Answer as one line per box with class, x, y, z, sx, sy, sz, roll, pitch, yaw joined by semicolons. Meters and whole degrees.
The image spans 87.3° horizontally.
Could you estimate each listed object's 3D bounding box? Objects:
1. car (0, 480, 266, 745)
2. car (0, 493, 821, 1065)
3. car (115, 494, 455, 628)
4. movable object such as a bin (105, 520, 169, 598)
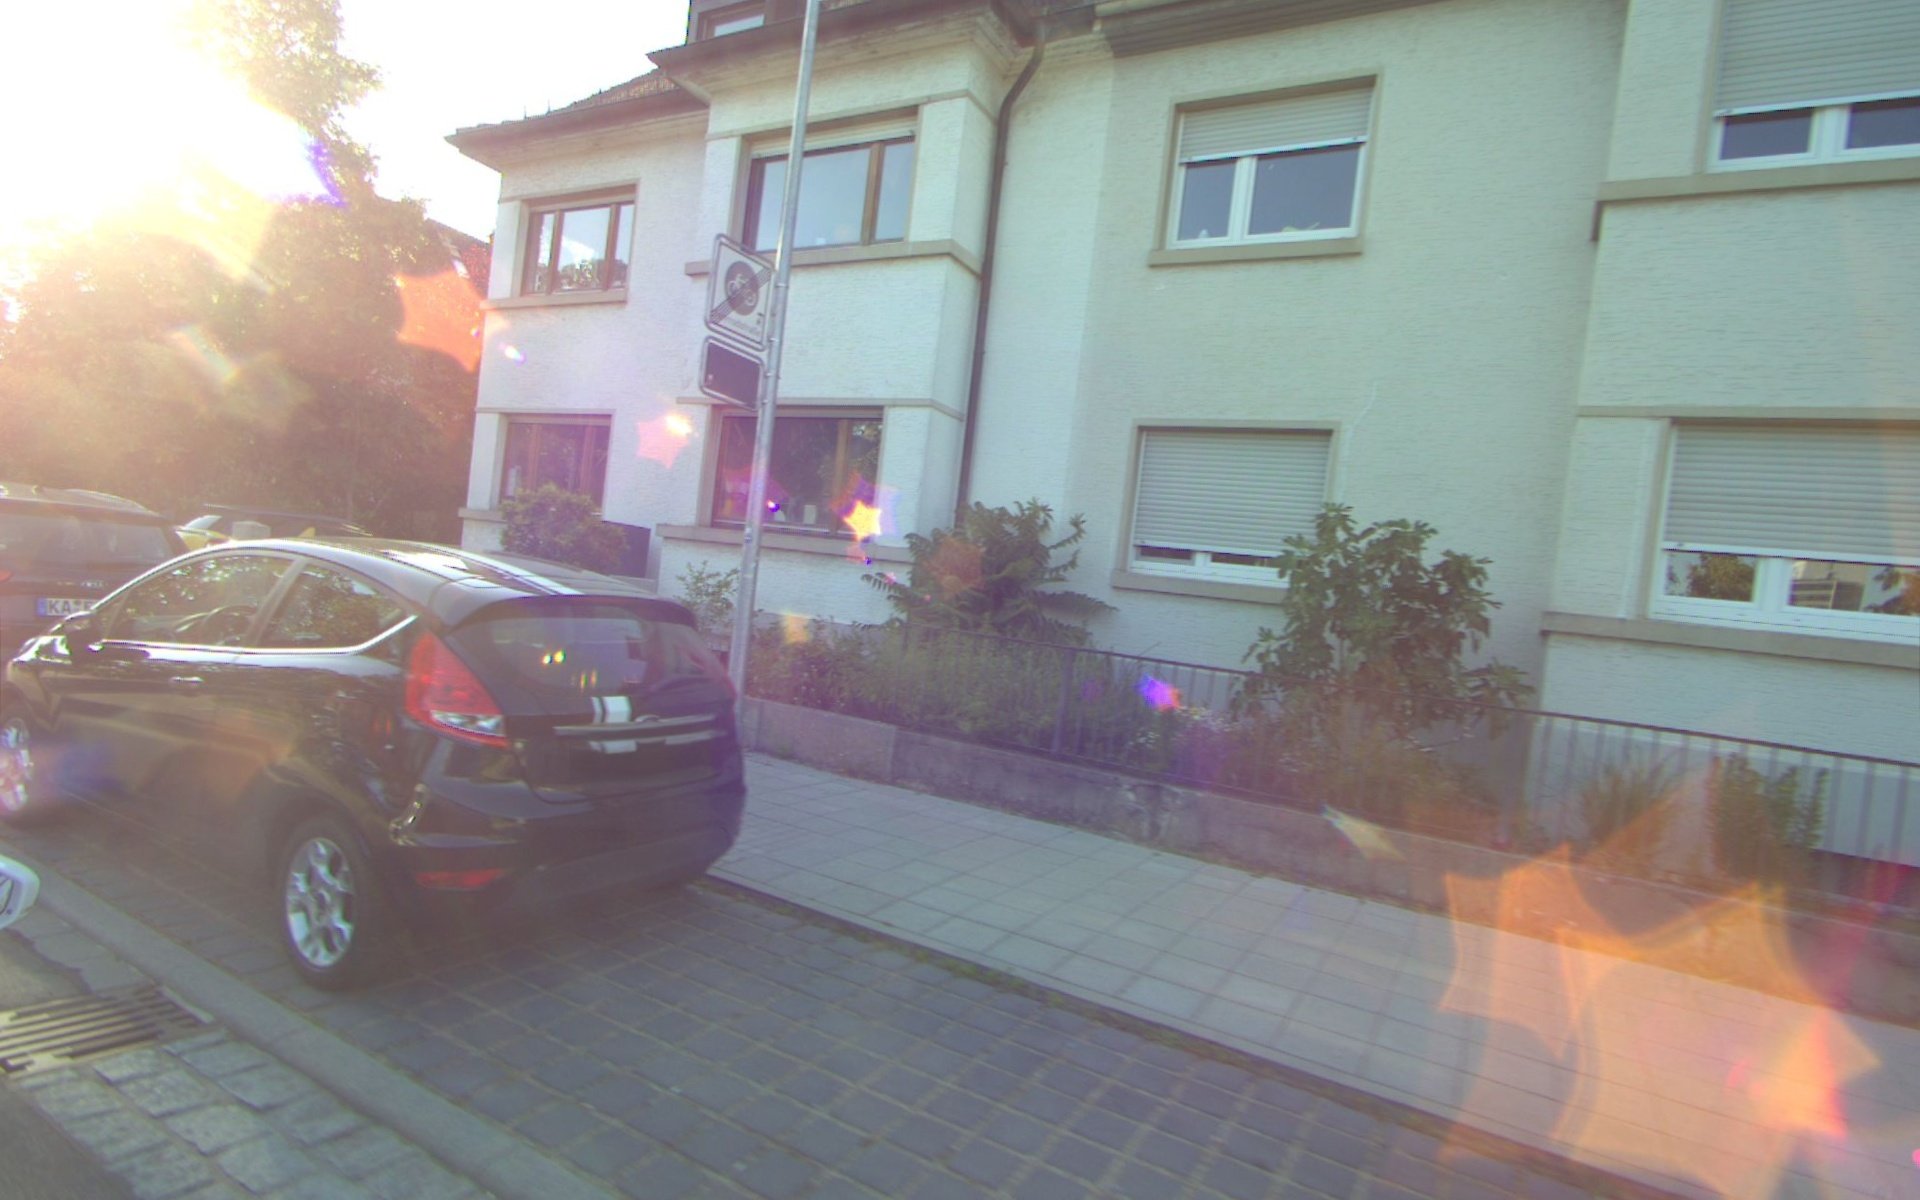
car;-7.010;-0.089;7.061;4.182;1.492;1.750;6;-1;29
car;-2.788;0.439;4.617;3.915;1.491;1.720;7;2;29
car;-9.624;-0.488;14.627;1.751;1.515;3.637;7;1;30
movable object such as a bin;-12.027;-0.594;14.710;0.409;1.056;0.509;7;0;24
